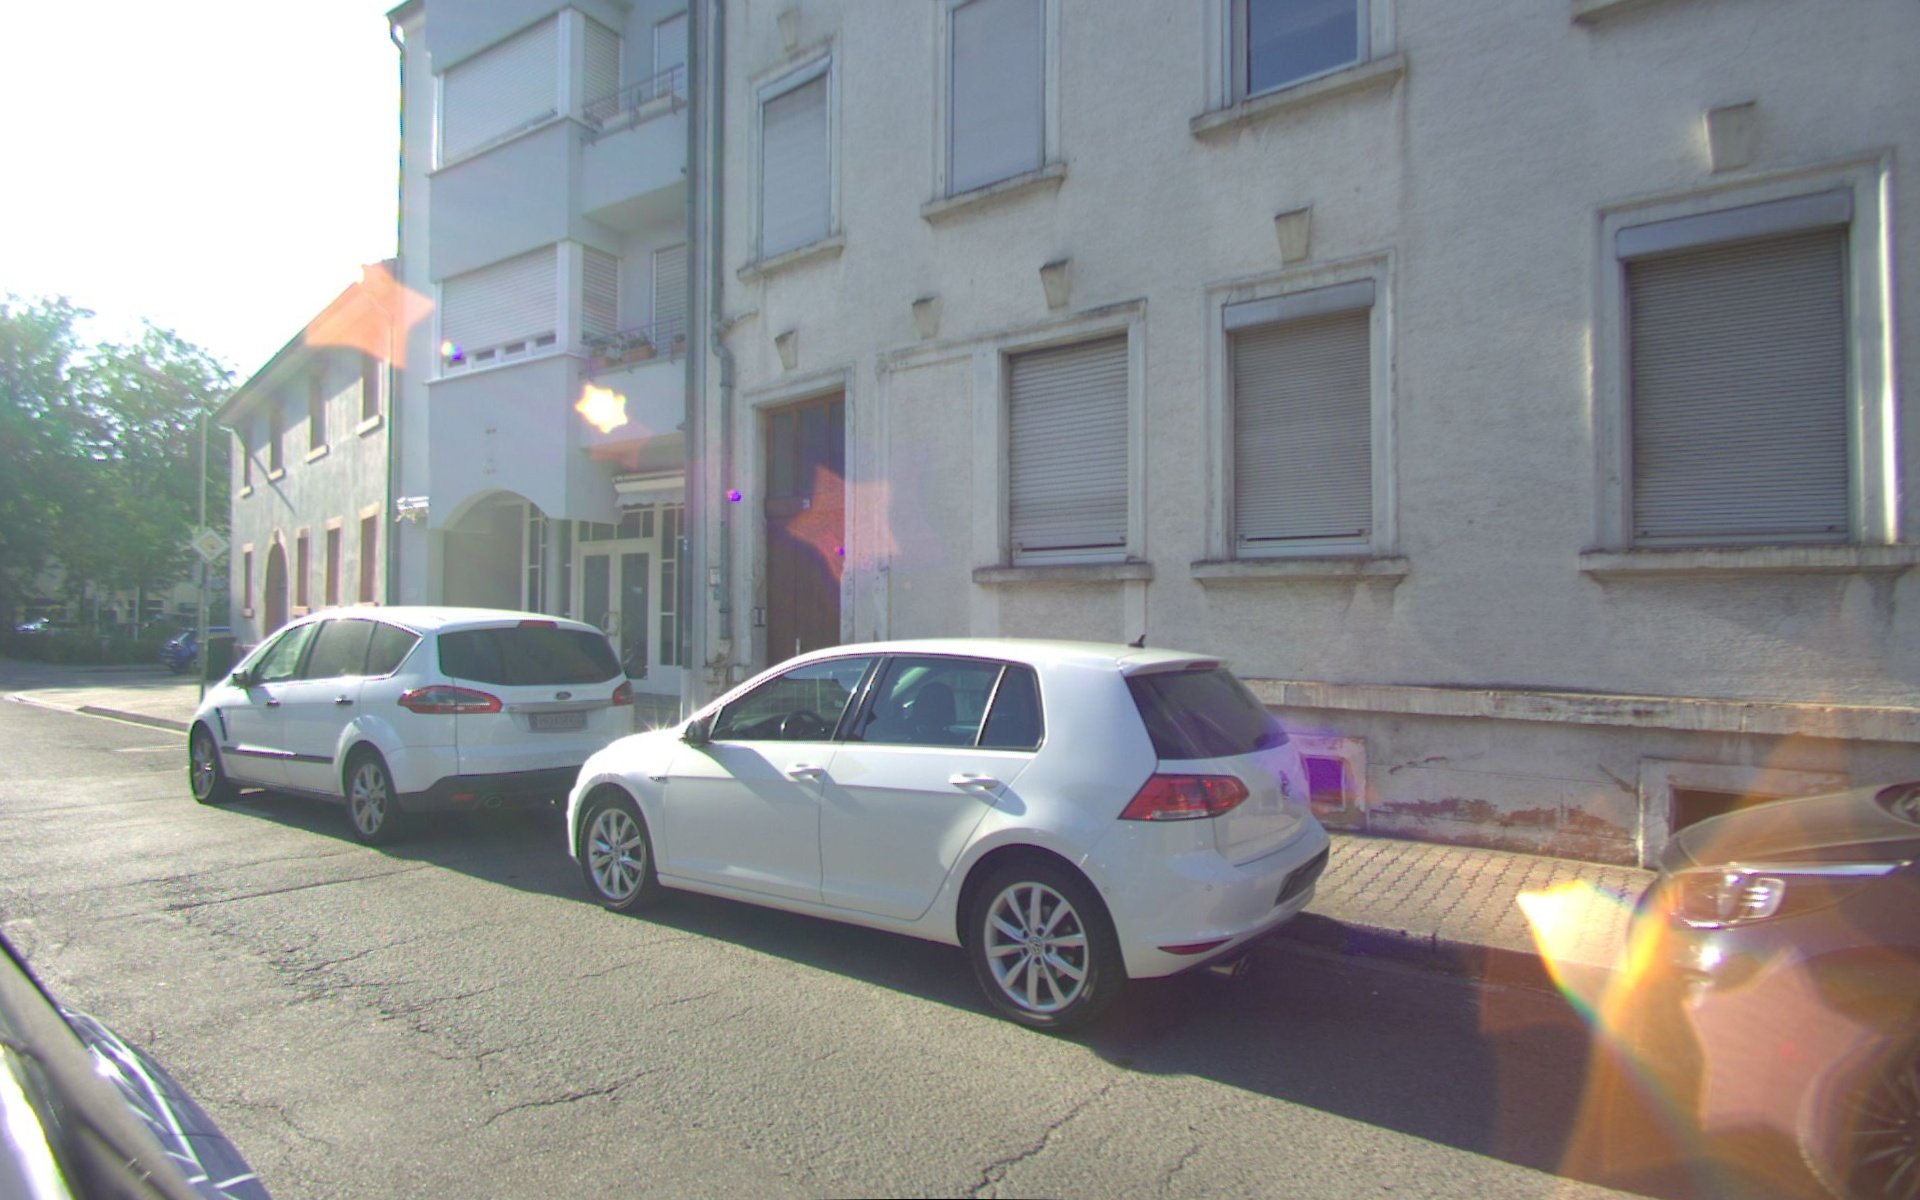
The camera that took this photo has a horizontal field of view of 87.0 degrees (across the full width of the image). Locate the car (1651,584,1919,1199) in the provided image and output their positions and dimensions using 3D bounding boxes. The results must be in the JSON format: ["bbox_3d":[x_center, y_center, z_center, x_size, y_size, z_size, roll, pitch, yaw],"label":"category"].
[{"bbox_3d":[3.876,0.717,2.230,3.802,1.538,1.645,-1,-2,37],"label":"car"}]

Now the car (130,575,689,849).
[{"bbox_3d":[-4.773,0.748,8.456,5.209,1.660,1.977,-1,-2,35],"label":"car"}]

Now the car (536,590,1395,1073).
[{"bbox_3d":[-0.185,0.820,5.141,4.119,1.507,1.748,-1,-5,37],"label":"car"}]

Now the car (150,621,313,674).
[{"bbox_3d":[-22.922,1.505,31.943,1.997,1.542,3.732,-2,-4,37],"label":"car"}]

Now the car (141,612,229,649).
[{"bbox_3d":[-42.216,1.655,55.122,4.298,1.963,2.007,-1,-2,25],"label":"car"}]

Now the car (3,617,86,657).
[{"bbox_3d":[-45.278,1.831,50.030,4.891,1.909,1.828,-1,-2,33],"label":"car"}]

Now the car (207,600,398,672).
[{"bbox_3d":[-19.574,1.033,30.275,1.985,1.808,4.322,-5,-1,38],"label":"car"}]

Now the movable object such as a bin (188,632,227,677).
[{"bbox_3d":[-18.762,1.347,25.235,0.750,1.102,0.593,-1,-1,38],"label":"movable object such as a bin"}]
